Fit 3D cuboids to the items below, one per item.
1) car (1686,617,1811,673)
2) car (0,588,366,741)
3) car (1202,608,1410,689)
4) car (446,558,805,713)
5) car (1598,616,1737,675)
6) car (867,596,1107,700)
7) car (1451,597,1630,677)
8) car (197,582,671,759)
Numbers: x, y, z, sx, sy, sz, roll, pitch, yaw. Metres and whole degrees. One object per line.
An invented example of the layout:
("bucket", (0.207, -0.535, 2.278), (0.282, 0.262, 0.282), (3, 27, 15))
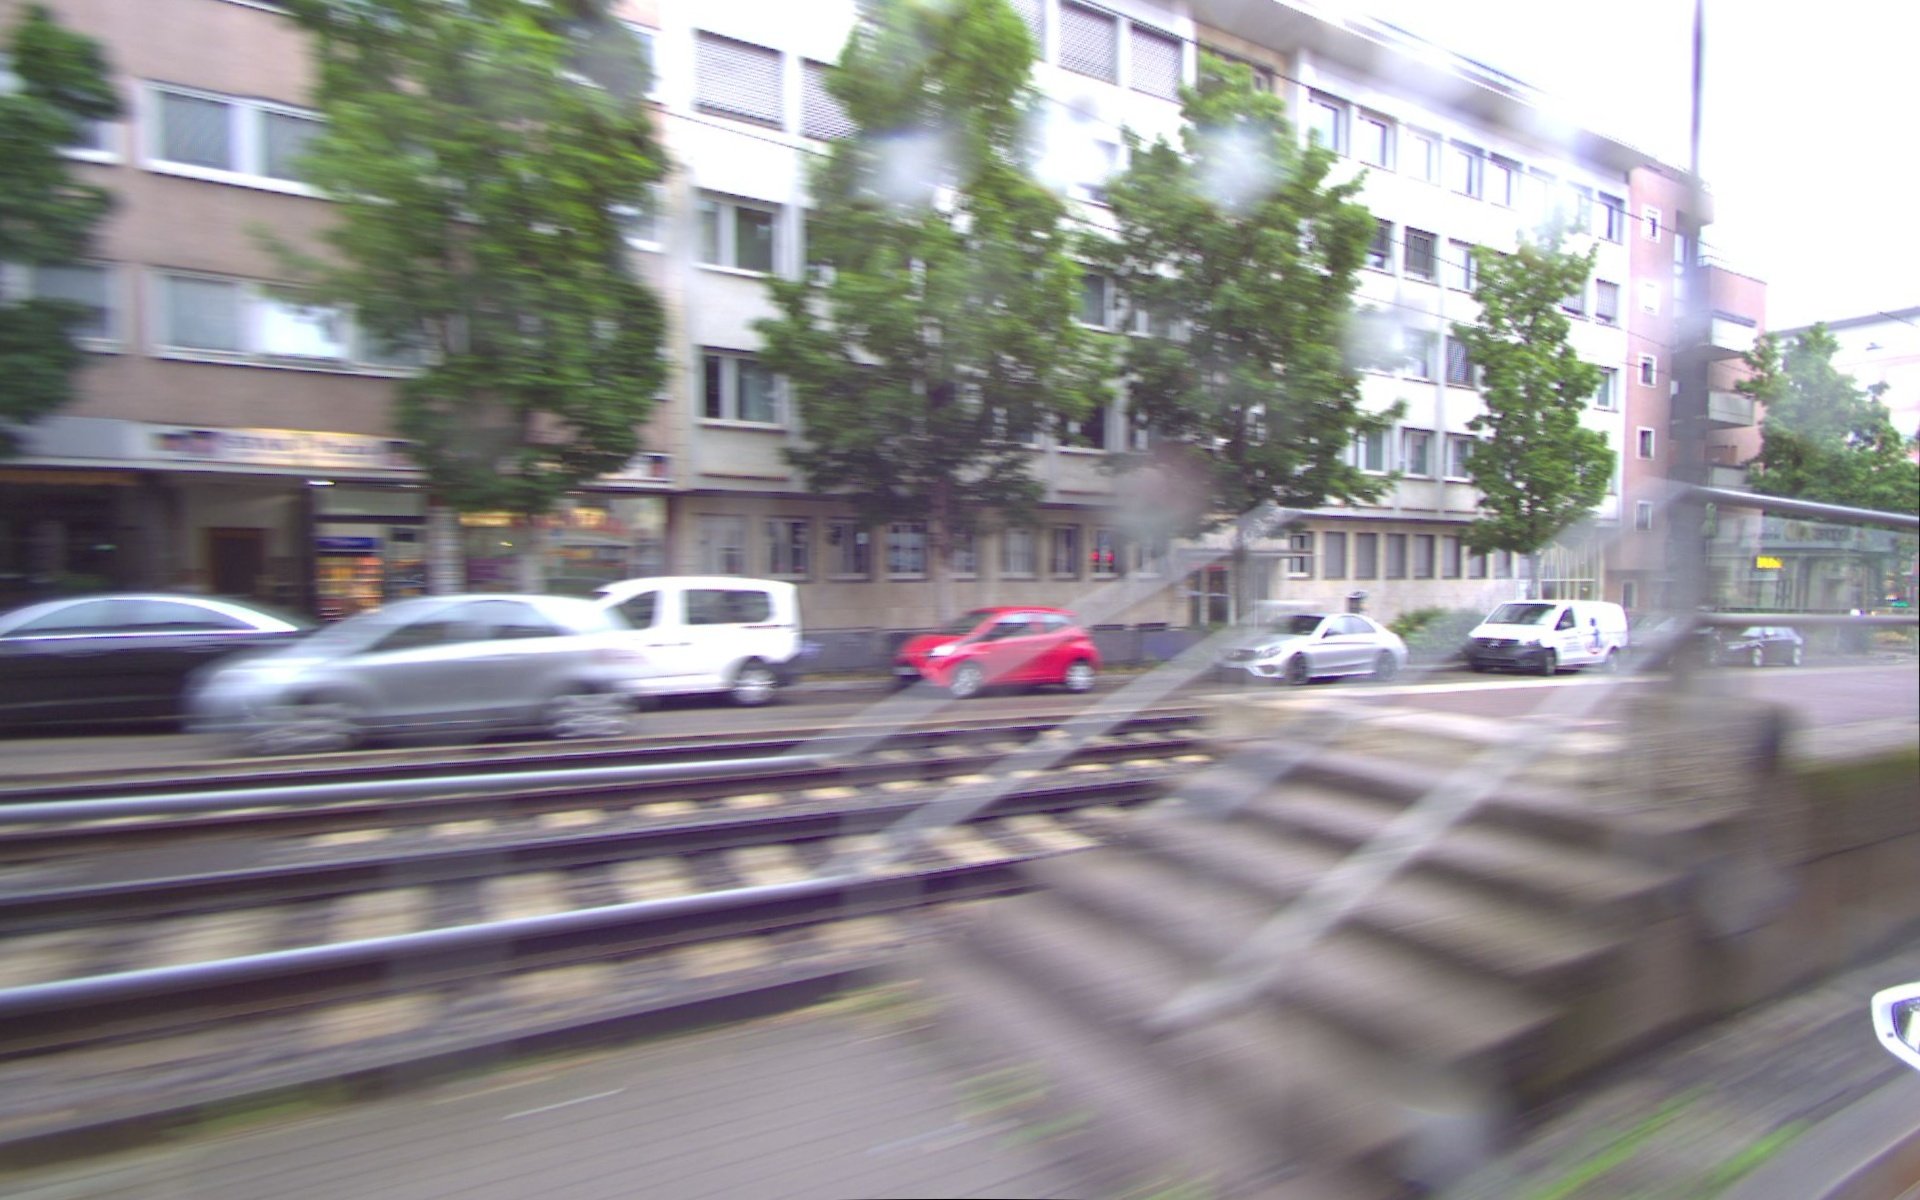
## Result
("car", (24.822, 1.398, 31.596), (4.320, 1.645, 1.631), (2, 0, -30))
("car", (-9.050, 0.627, 10.684), (4.677, 1.459, 1.630), (2, 0, -32))
("car", (7.183, 0.963, 20.711), (4.483, 1.481, 1.681), (2, 0, -34))
("car", (-4.503, 0.468, 13.763), (4.383, 1.841, 1.665), (2, 0, -32))
("car", (20.379, 1.278, 28.888), (4.320, 1.557, 1.631), (2, 0, -30))
("car", (0.488, 0.774, 16.932), (3.761, 1.559, 1.630), (2, 0, -32))
("car", (14.893, 0.921, 25.664), (5.204, 1.869, 1.895), (2, 0, -35))
("car", (-5.099, 0.633, 10.133), (3.917, 1.481, 1.631), (2, 0, -30))
